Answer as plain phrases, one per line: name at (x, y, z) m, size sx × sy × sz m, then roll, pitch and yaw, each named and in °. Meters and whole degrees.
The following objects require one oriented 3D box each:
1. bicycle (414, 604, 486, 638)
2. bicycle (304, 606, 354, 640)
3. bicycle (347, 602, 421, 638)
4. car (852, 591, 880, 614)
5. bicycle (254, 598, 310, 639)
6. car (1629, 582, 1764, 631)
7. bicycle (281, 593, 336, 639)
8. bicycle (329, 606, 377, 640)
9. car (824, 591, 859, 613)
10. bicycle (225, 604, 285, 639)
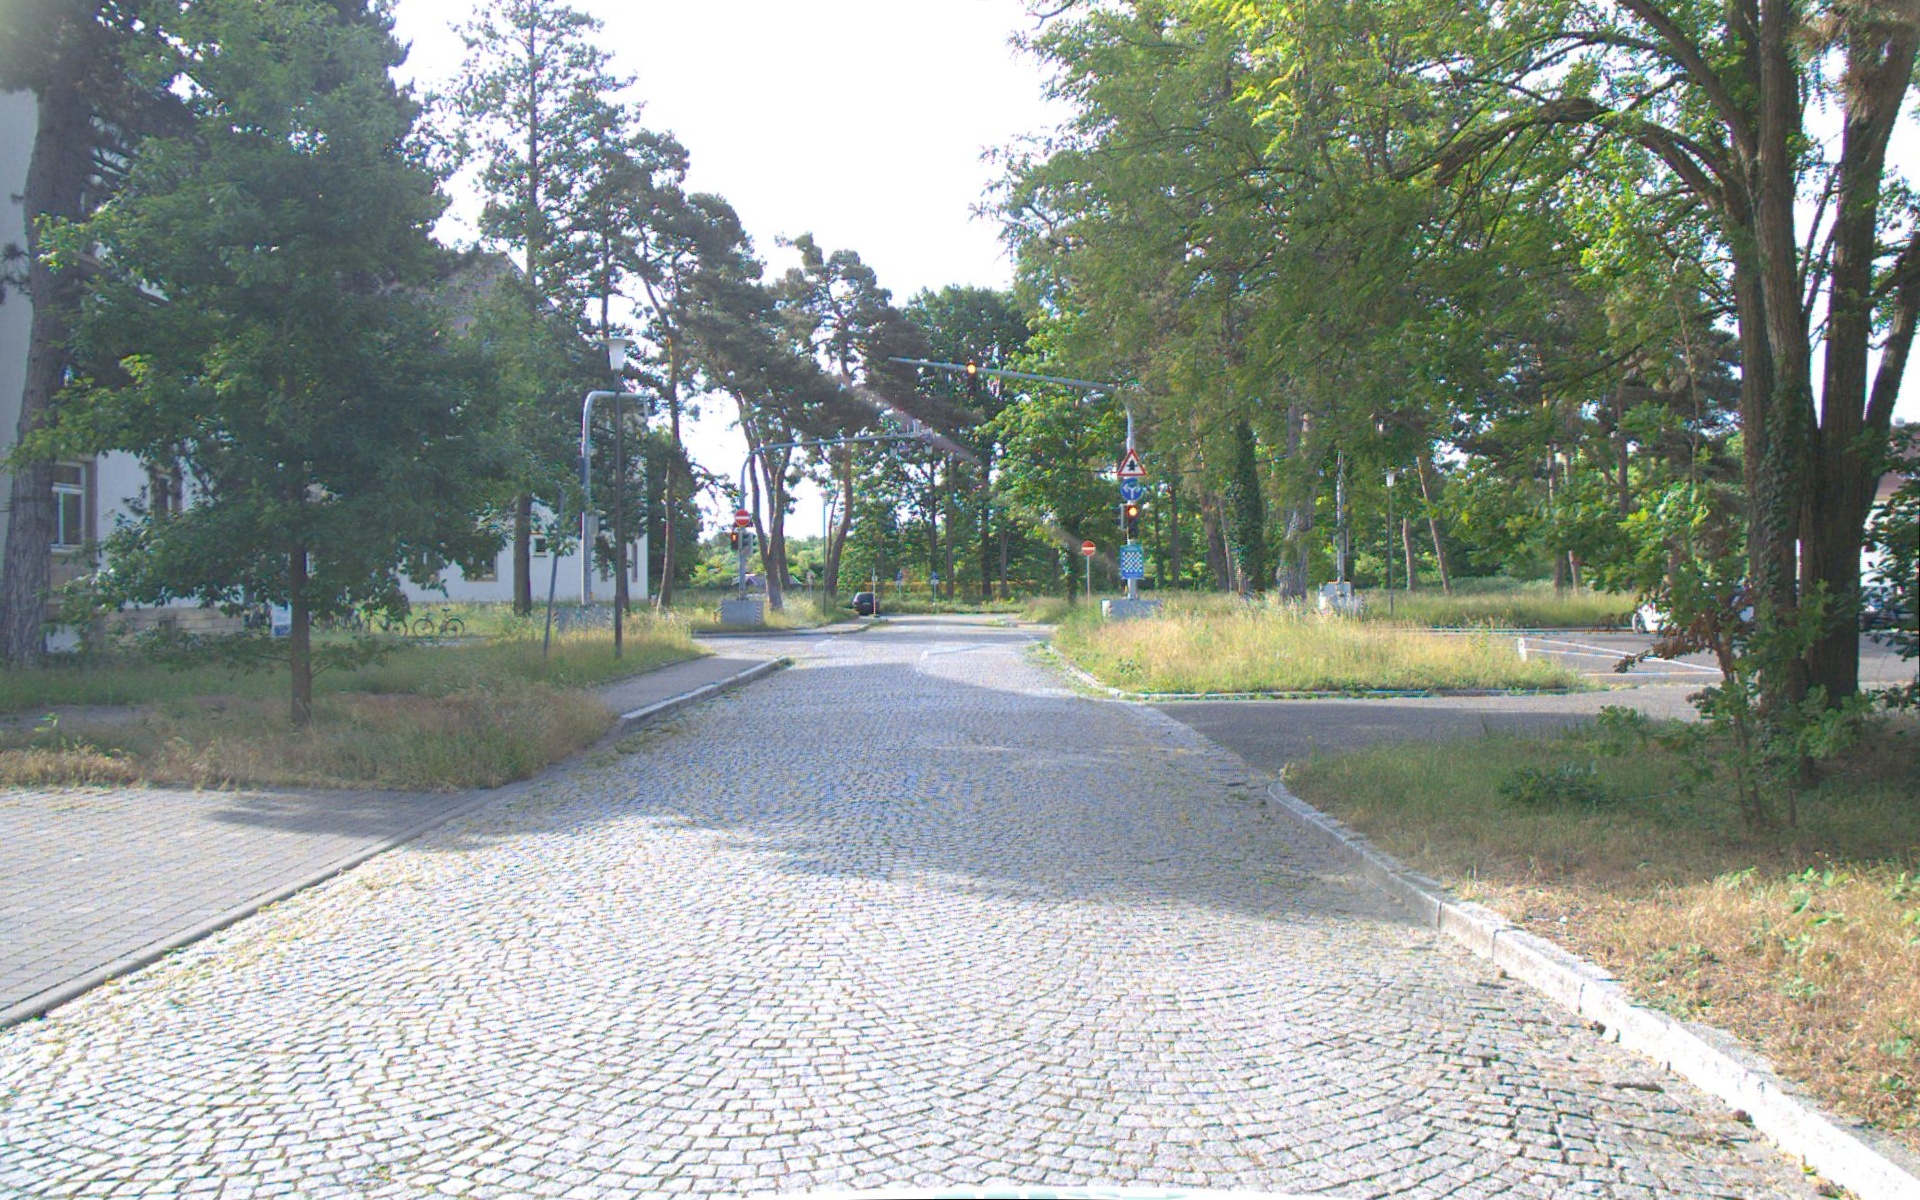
bicycle at (-16.339, 0.661, 53.018) m, size 2.075 × 1.065 × 0.828 m, roll -1°, pitch 0°, yaw -4°
bicycle at (-20.623, 0.728, 54.084) m, size 0.809 × 1.065 × 2.124 m, roll -1°, pitch 0°, yaw 0°
bicycle at (-18.422, 0.633, 52.900) m, size 2.075 × 1.128 × 0.828 m, roll -1°, pitch 0°, yaw -4°
car at (-6.264, 0.166, 110.620) m, size 1.808 × 1.512 × 3.998 m, roll -1°, pitch 0°, yaw -3°
bicycle at (-22.159, 0.587, 54.107) m, size 0.809 × 1.303 × 2.553 m, roll -1°, pitch 0°, yaw 0°
car at (20.889, 0.158, 47.110) m, size 1.696 × 1.335 × 4.329 m, roll -1°, pitch 1°, yaw -4°
bicycle at (-21.403, 0.503, 54.417) m, size 0.809 × 1.462 × 2.553 m, roll -1°, pitch 0°, yaw 0°
bicycle at (-19.856, 0.739, 54.136) m, size 0.809 × 1.065 × 2.124 m, roll -1°, pitch 0°, yaw 0°
car at (-8.210, 0.137, 115.314) m, size 1.745 × 1.516 × 3.758 m, roll -1°, pitch 0°, yaw 7°
bicycle at (-23.043, 0.692, 54.098) m, size 0.882 × 1.065 × 2.553 m, roll -1°, pitch 0°, yaw 0°
